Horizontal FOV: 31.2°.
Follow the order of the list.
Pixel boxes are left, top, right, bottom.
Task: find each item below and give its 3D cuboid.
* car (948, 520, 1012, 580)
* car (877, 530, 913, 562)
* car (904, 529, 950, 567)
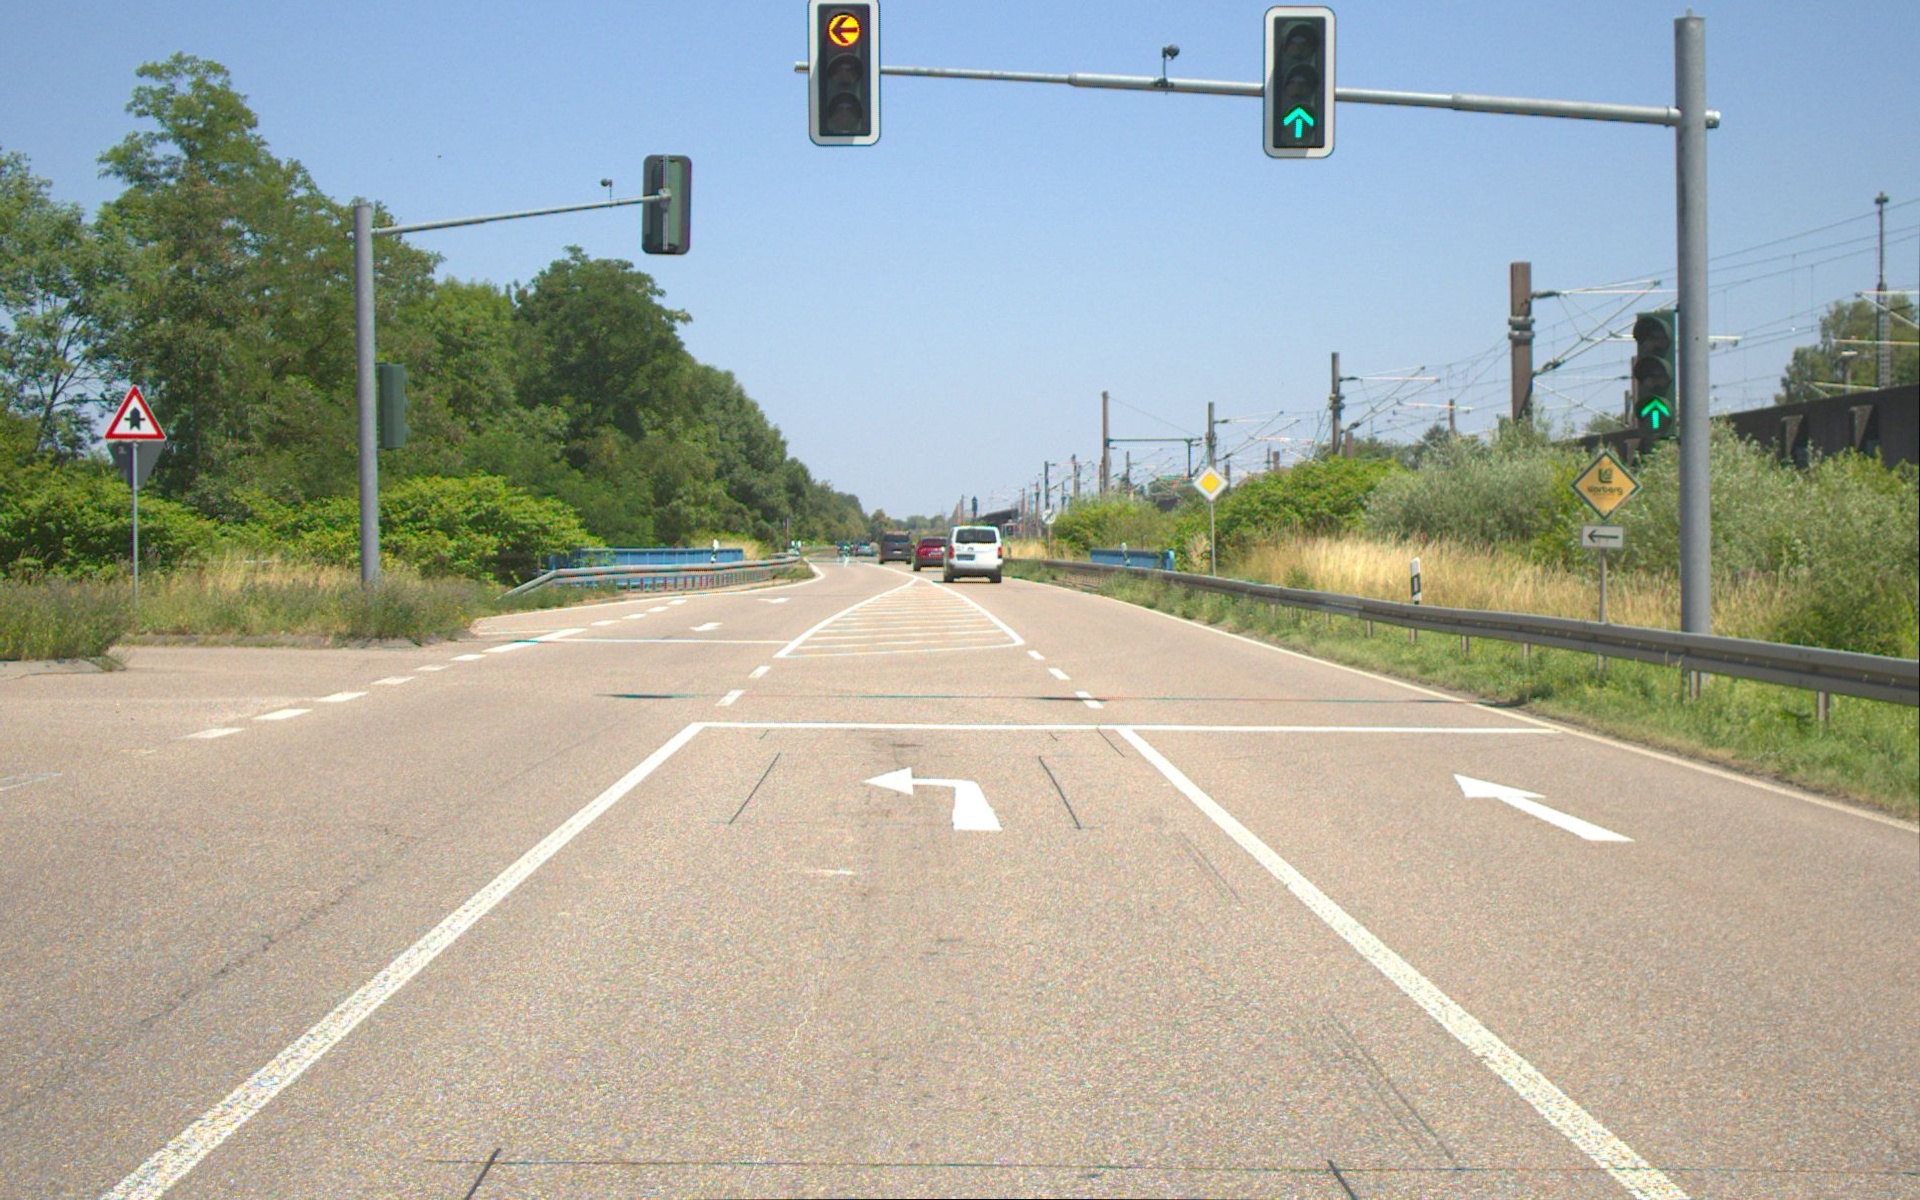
[{"bbox_3d":[0.664,-1.729,117.318,1.993,1.977,4.060,1,1,-2],"label":"car"},{"bbox_3d":[-4.140,-3.442,218.240,2.154,1.961,4.543,1,1,-2],"label":"car"},{"bbox_3d":[-1.573,-2.463,161.544,2.019,1.720,4.543,1,1,-2],"label":"car"}]
